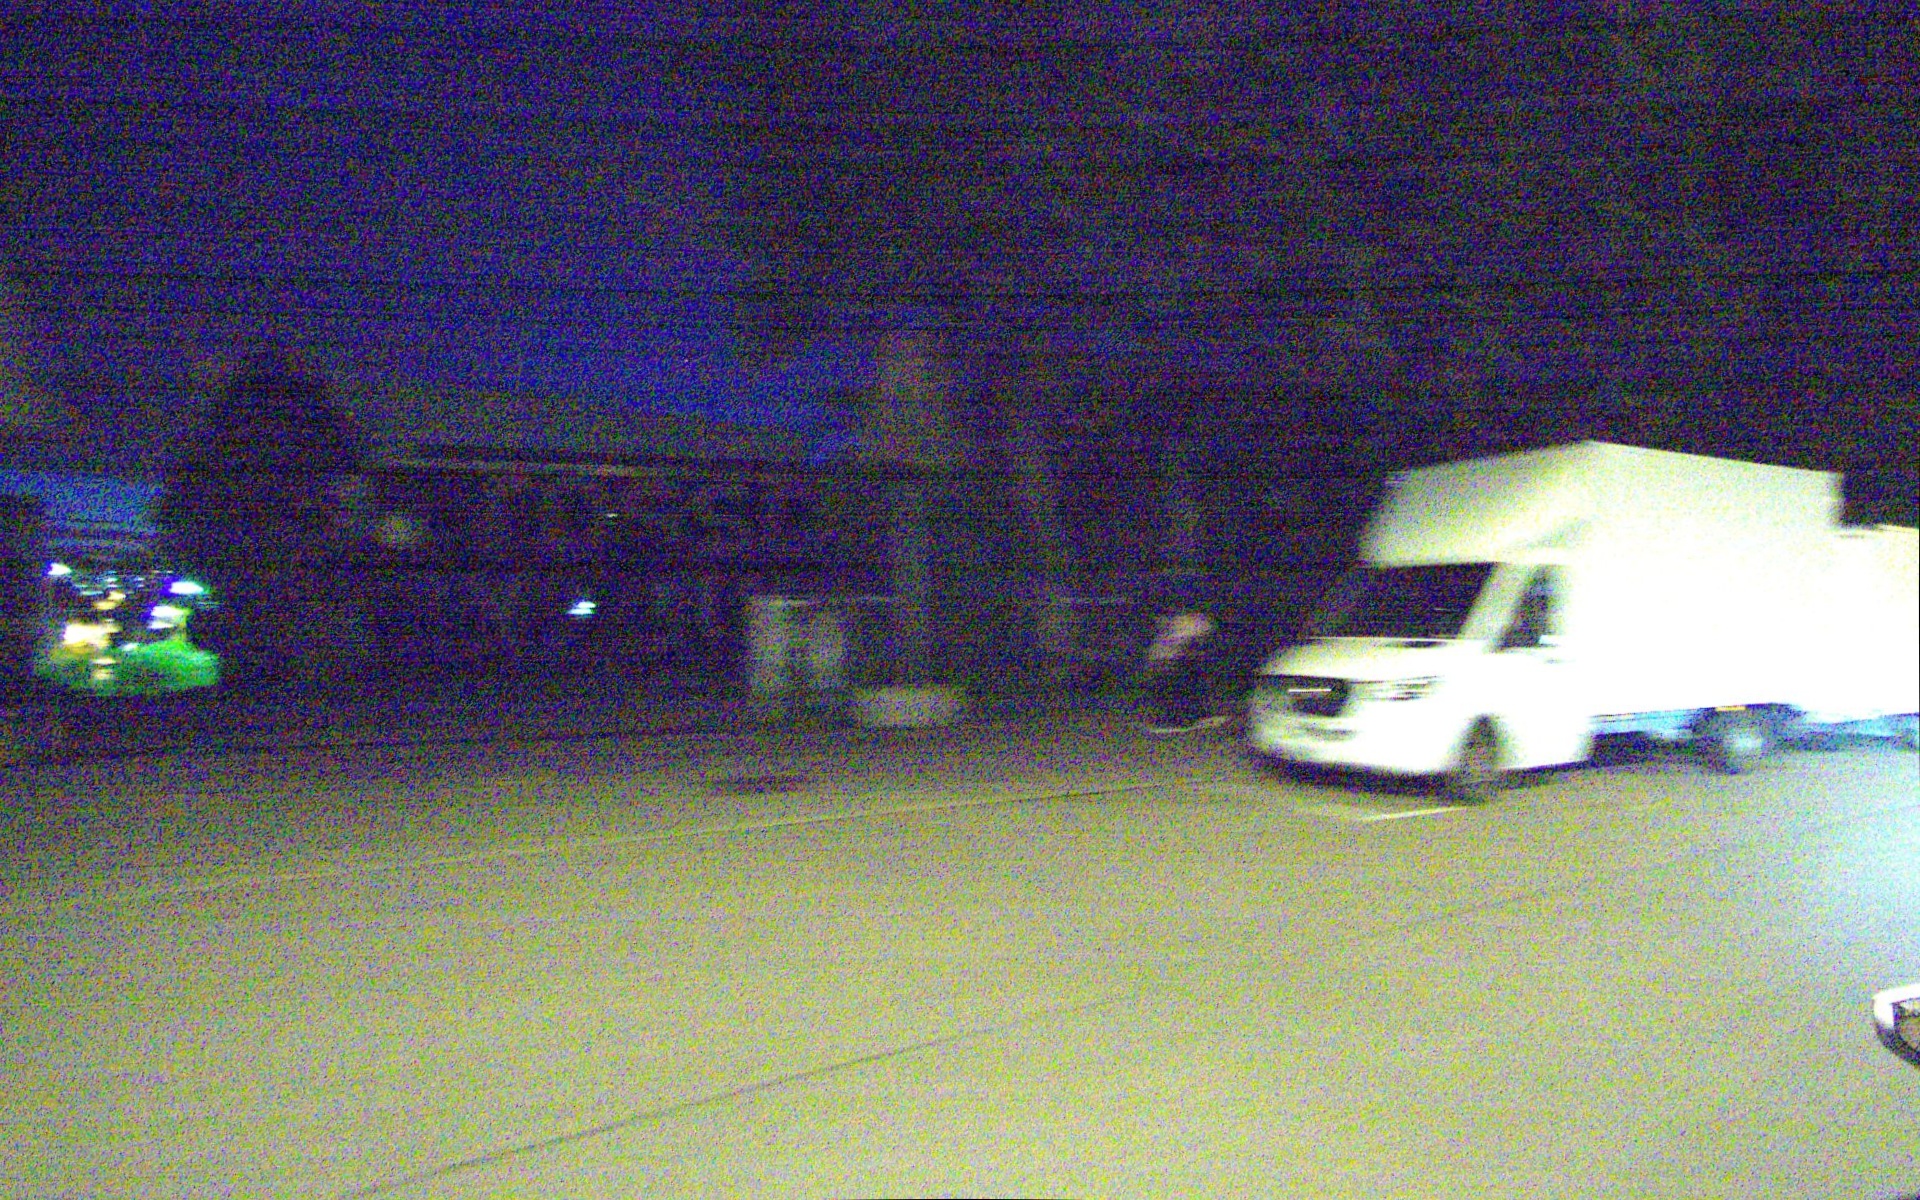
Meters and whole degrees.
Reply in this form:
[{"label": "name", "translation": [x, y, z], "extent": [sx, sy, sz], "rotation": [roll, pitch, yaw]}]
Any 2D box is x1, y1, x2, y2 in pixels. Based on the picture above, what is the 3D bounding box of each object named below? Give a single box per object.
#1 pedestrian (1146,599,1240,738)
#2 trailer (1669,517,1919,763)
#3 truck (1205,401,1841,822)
[{"label": "pedestrian", "translation": [2.922, 0.854, 12.680], "extent": [0.987, 1.693, 0.779], "rotation": [0, -1, -2]}, {"label": "trailer", "translation": [12.047, 0.516, 13.644], "extent": [4.560, 2.832, 2.195], "rotation": [1, -1, -29]}, {"label": "truck", "translation": [6.128, 0.167, 10.578], "extent": [7.140, 3.286, 2.364], "rotation": [1, -1, -28]}]
